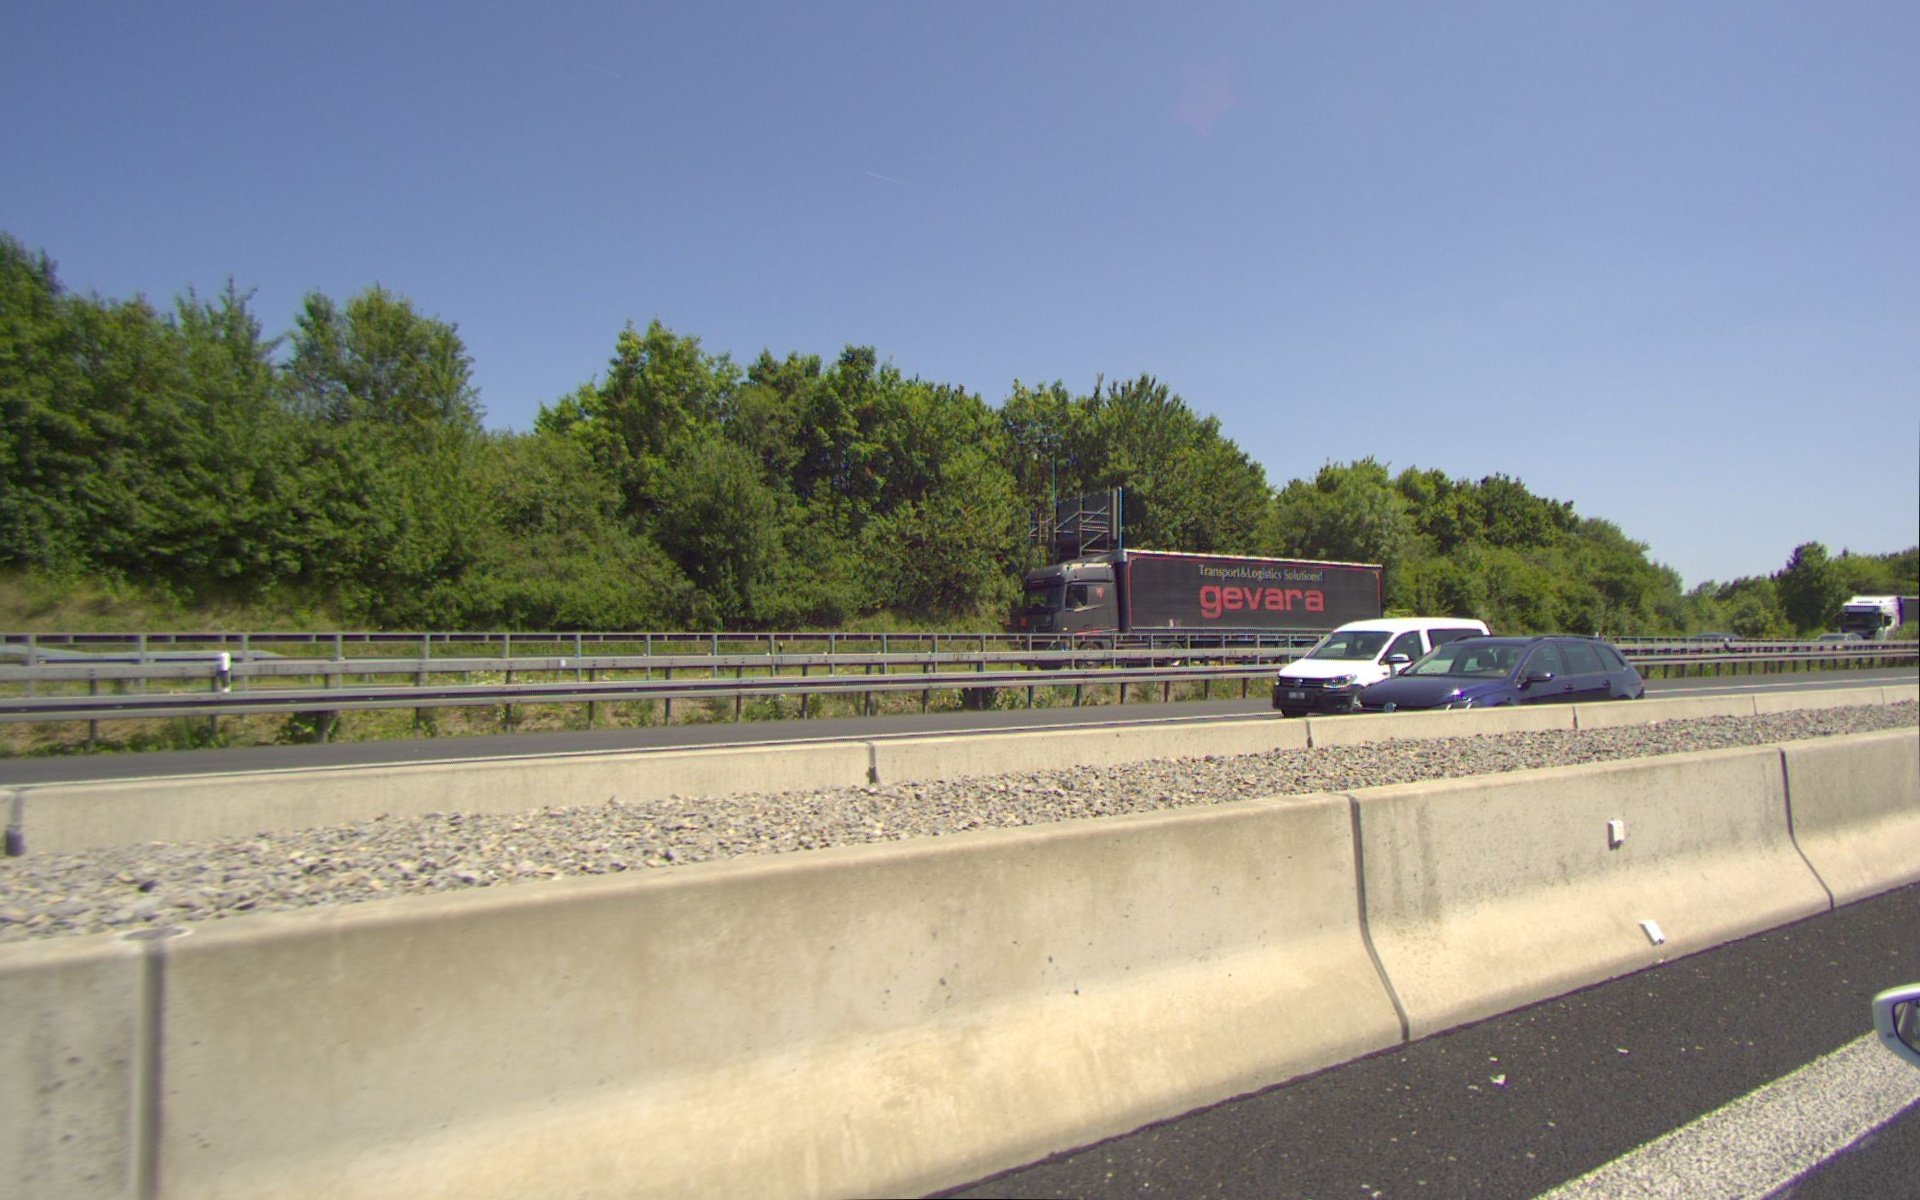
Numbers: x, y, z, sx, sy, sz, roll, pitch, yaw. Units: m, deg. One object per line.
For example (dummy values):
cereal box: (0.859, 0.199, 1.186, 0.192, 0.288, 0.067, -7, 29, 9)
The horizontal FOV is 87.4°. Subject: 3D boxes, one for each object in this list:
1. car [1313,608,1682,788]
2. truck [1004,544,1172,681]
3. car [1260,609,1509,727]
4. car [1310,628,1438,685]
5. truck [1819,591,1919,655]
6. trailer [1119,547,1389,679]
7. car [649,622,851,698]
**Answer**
car: (6.852, 1.099, 12.668, 4.772, 1.850, 1.973, 2, 0, -32)
truck: (4.376, 0.436, 34.224, 4.940, 4.329, 2.796, 2, 0, -31)
car: (7.699, 1.148, 18.029, 4.852, 1.850, 1.731, 2, 0, -34)
car: (14.838, 1.972, 35.957, 4.485, 1.882, 1.984, 1, -1, -30)
truck: (61.474, 1.554, 67.816, 6.561, 4.099, 3.205, 2, 0, -30)
trailer: (11.512, 0.578, 38.512, 11.519, 4.492, 2.780, 2, 0, -31)
car: (-5.615, 1.557, 27.068, 4.979, 1.882, 1.984, 1, -1, -30)
